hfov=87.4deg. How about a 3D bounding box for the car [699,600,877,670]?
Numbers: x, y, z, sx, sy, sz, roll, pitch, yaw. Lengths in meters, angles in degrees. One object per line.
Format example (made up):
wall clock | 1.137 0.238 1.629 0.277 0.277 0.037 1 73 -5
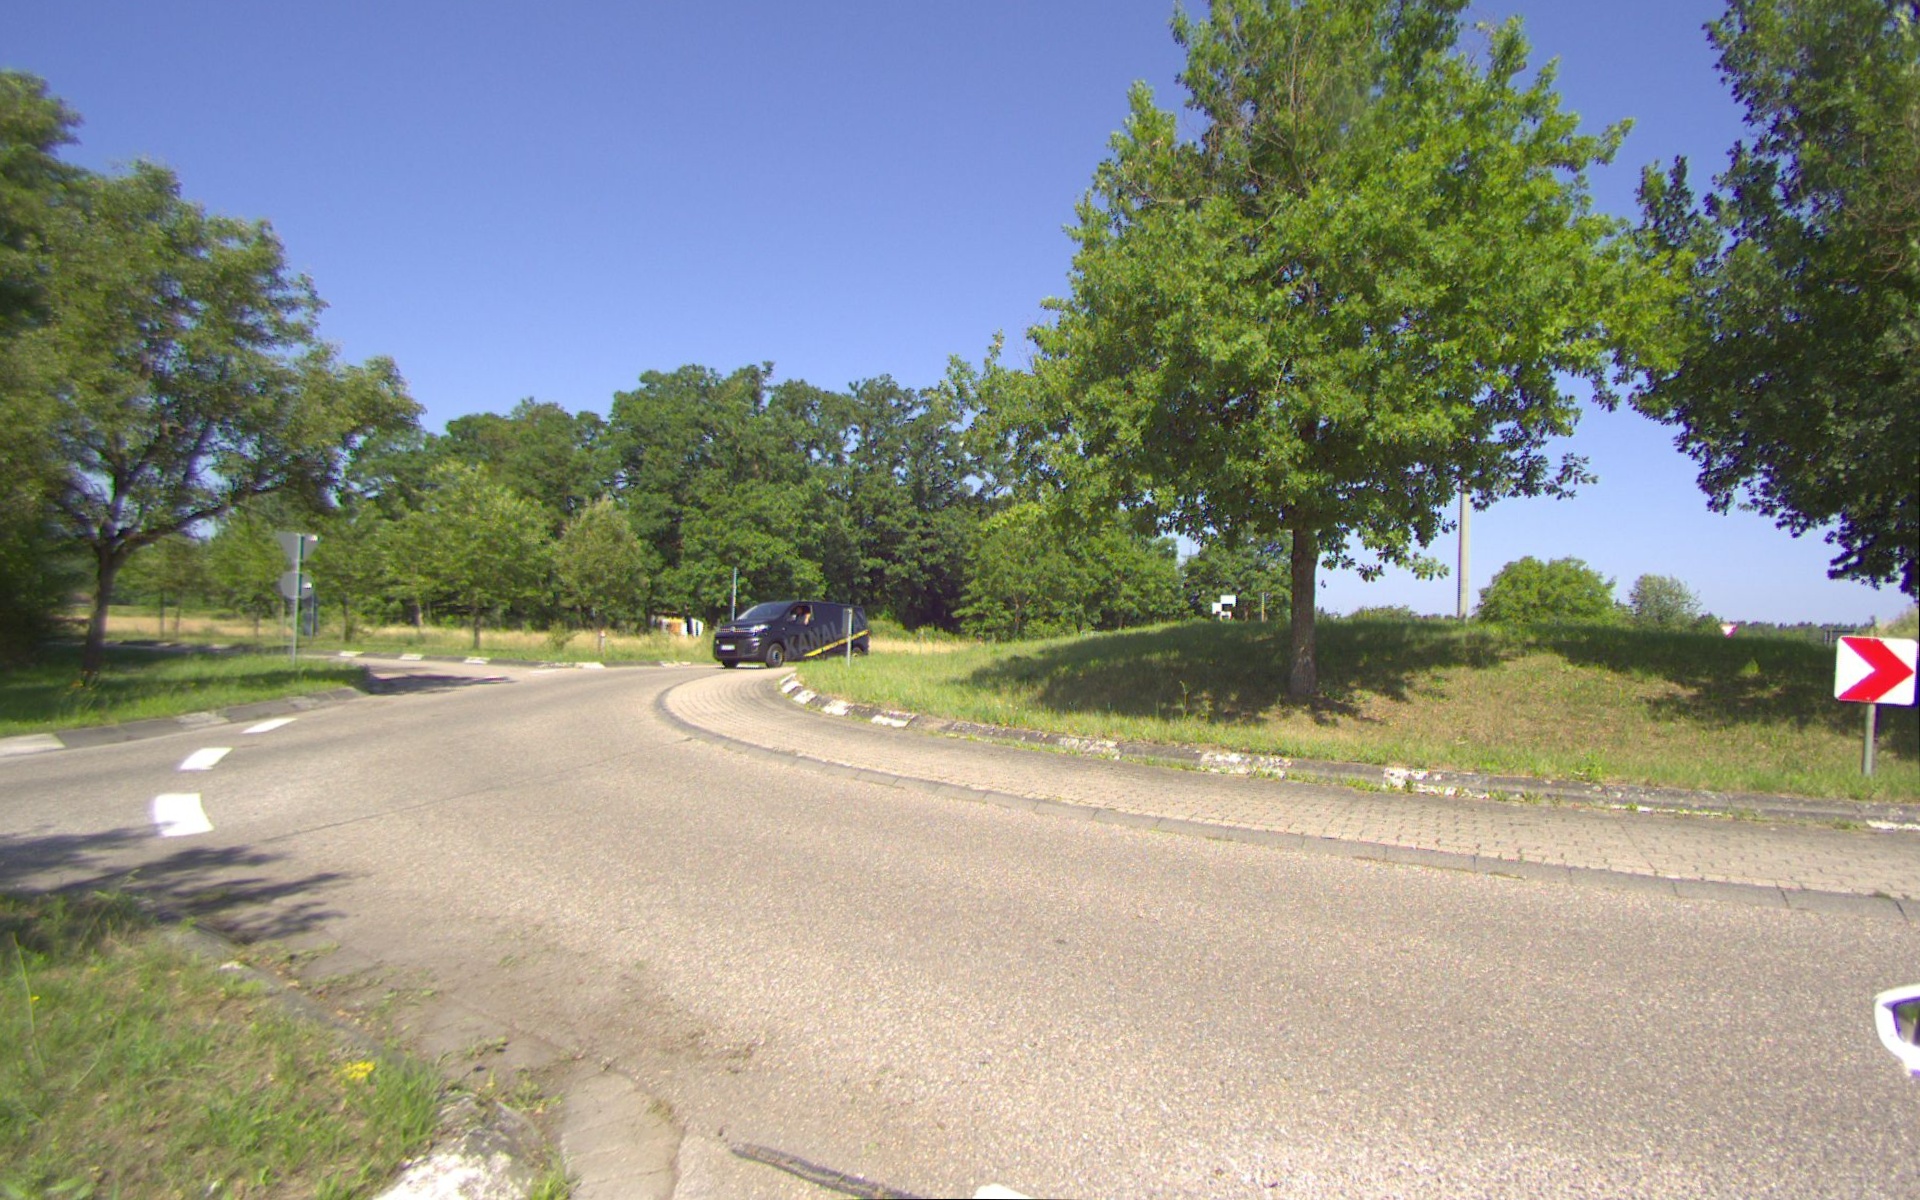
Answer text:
car | -4.626 0.964 27.653 2.068 1.737 4.702 1 -1 36
